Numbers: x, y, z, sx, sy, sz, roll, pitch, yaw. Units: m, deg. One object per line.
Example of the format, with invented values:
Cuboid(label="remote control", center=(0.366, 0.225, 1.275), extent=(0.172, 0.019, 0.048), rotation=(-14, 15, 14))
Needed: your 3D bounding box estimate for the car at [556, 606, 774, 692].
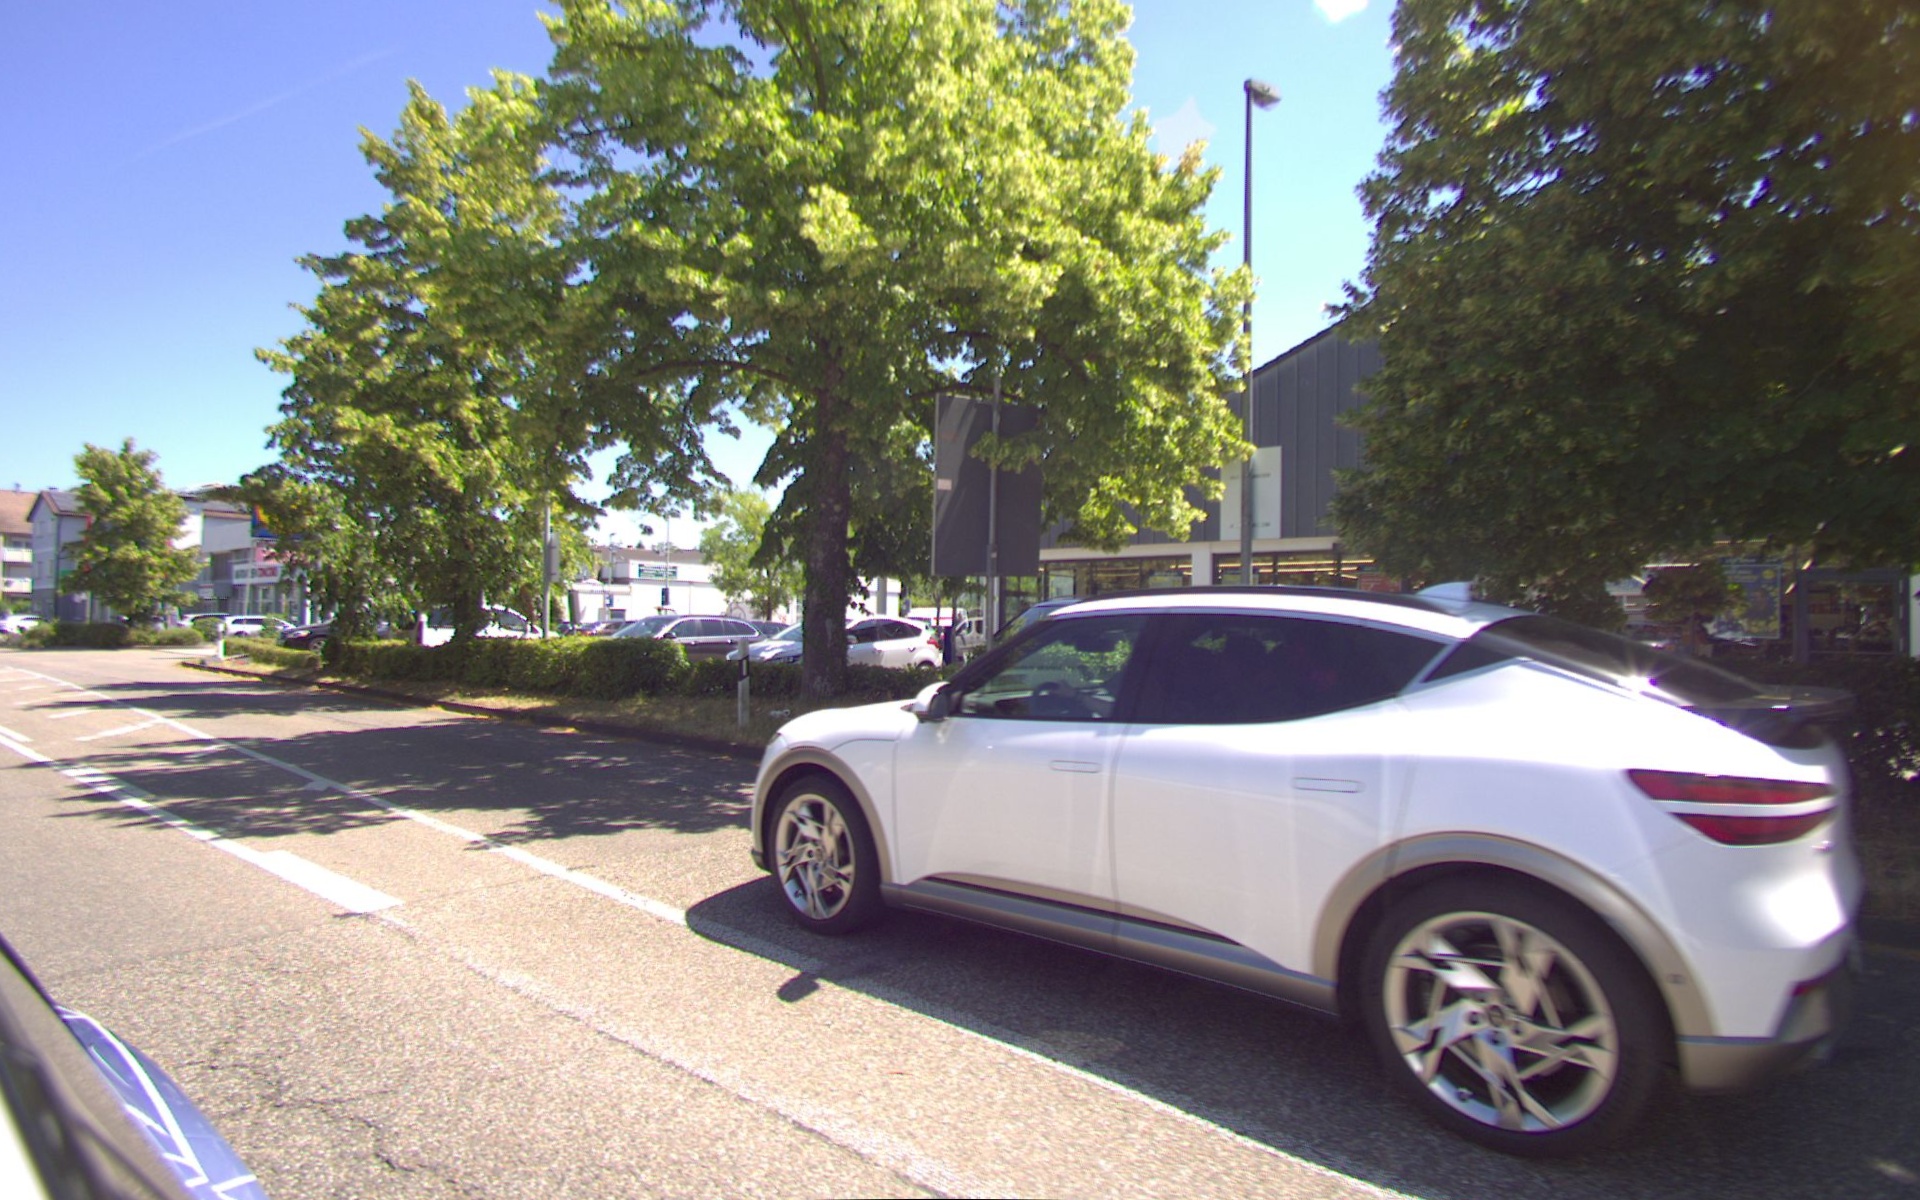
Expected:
Cuboid(label="car", center=(-6.025, 0.917, 21.017), extent=(1.931, 1.536, 3.990), rotation=(0, 0, 38))

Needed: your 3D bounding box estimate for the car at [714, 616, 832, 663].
Cuboid(label="car", center=(-6.864, 1.417, 37.597), extent=(1.824, 1.541, 4.274), rotation=(0, 0, 35))

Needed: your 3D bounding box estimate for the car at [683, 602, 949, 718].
Cuboid(label="car", center=(-2.272, 0.876, 17.009), extent=(1.892, 1.632, 4.359), rotation=(0, 0, 38))

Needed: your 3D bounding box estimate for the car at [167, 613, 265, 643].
Cuboid(label="car", center=(-42.707, 1.585, 58.226), extent=(4.470, 1.676, 2.005), rotation=(0, -1, -36))

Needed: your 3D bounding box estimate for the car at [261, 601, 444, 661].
Cuboid(label="car", center=(-19.411, 0.911, 32.485), extent=(2.099, 1.775, 4.656), rotation=(0, 0, 43))

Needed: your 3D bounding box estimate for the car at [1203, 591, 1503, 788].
Cuboid(label="car", center=(4.704, 0.818, 11.709), extent=(2.070, 1.789, 4.359), rotation=(0, 0, 38))

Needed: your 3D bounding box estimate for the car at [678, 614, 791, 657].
Cuboid(label="car", center=(-8.862, 1.373, 40.110), extent=(1.824, 1.541, 4.274), rotation=(0, 0, 35))

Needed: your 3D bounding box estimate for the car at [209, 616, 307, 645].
Cuboid(label="car", center=(-36.815, 1.572, 53.105), extent=(4.130, 1.457, 1.983), rotation=(0, -1, -39))

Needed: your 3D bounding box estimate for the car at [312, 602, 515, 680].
Cuboid(label="car", center=(-14.370, 1.001, 26.746), extent=(4.335, 1.859, 2.105), rotation=(0, 0, -45))

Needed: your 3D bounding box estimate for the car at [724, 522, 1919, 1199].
Cuboid(label="car", center=(1.237, 0.626, 4.144), extent=(4.473, 1.600, 2.072), rotation=(0, 1, 41))

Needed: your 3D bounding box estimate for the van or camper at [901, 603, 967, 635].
Cuboid(label="van or camper", center=(-1.671, 1.193, 65.545), extent=(2.008, 1.951, 4.319), rotation=(0, 0, 38))

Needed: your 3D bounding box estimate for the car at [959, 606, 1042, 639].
Cuboid(label="car", center=(2.033, 1.114, 51.443), extent=(3.996, 1.613, 1.776), rotation=(0, 0, 39))

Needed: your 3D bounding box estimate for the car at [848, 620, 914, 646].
Cuboid(label="car", center=(-4.545, 1.896, 58.659), extent=(1.763, 1.379, 4.205), rotation=(0, 0, 31))

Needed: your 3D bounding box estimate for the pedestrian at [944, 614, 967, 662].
Cuboid(label="pedestrian", center=(-0.168, 1.438, 38.820), extent=(0.763, 1.820, 0.751), rotation=(0, 0, 7))

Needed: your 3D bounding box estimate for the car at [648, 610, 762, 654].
Cuboid(label="car", center=(-10.487, 1.282, 41.880), extent=(2.110, 1.667, 4.274), rotation=(0, 0, 35))

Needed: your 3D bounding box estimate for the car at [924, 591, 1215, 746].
Cuboid(label="car", center=(1.686, 0.787, 14.177), extent=(2.070, 1.789, 4.359), rotation=(0, 0, 38))

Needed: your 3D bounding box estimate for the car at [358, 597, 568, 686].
Cuboid(label="car", center=(-12.209, 0.938, 25.105), extent=(1.902, 1.995, 4.316), rotation=(0, 0, 37))

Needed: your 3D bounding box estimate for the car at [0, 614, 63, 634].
Cuboid(label="car", center=(-71.190, 1.803, 76.818), extent=(1.920, 1.450, 4.337), rotation=(0, -1, 13))

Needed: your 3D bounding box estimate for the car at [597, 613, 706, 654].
Cuboid(label="car", center=(-13.059, 1.382, 43.082), extent=(1.905, 1.618, 4.281), rotation=(0, 0, 31))

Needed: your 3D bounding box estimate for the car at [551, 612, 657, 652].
Cuboid(label="car", center=(-15.393, 1.345, 43.929), extent=(1.763, 1.601, 4.205), rotation=(0, 0, 31))

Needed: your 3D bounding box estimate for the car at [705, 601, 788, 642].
Cuboid(label="car", center=(-14.544, 1.436, 68.727), extent=(5.892, 2.647, 2.259), rotation=(0, 0, 38))
